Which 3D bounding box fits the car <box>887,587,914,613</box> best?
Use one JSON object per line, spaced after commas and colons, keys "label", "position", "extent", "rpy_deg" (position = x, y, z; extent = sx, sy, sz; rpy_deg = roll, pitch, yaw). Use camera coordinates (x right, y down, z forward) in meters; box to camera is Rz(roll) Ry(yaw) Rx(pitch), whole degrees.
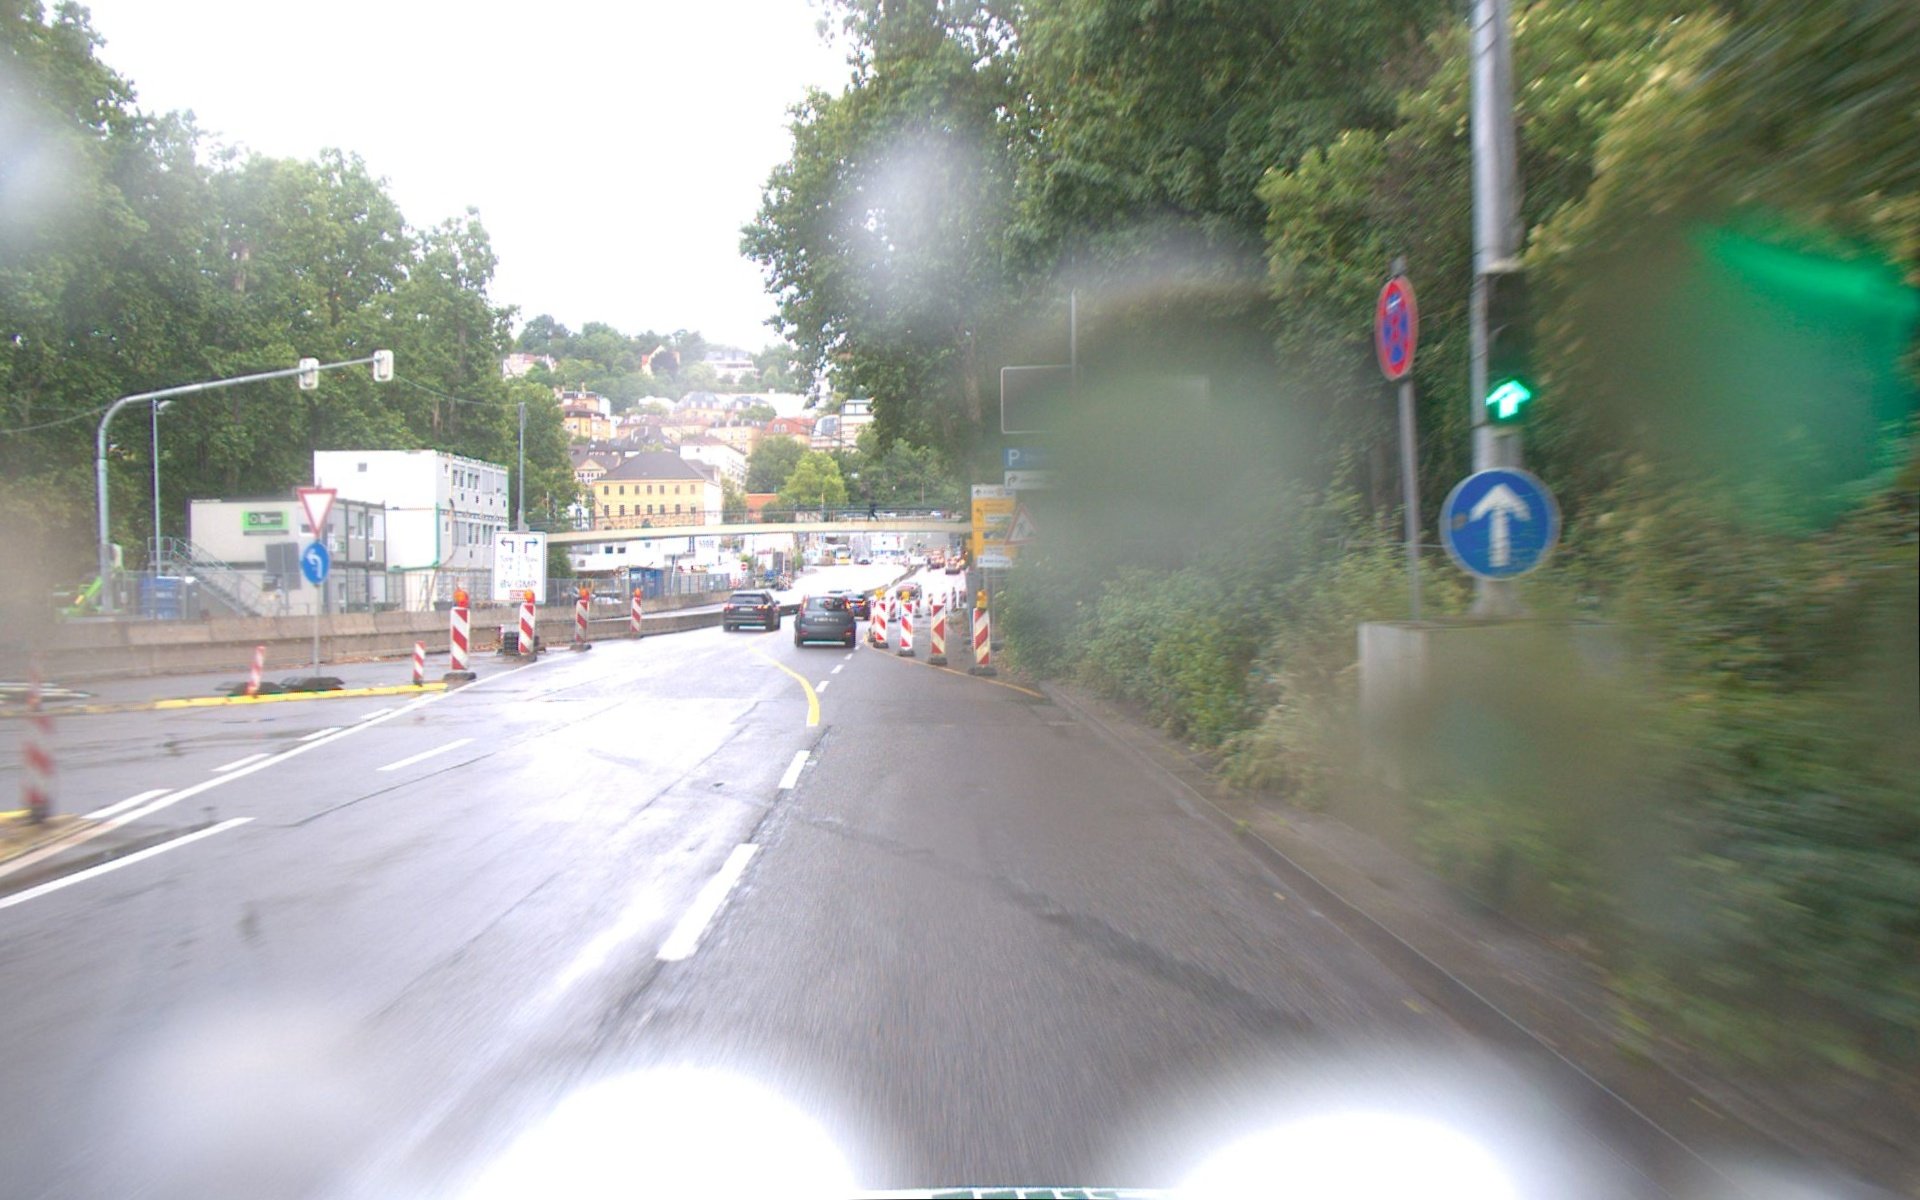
{"label": "car", "position": [-4.843, 0.003, 134.716], "extent": [2.009, 2.049, 4.000], "rpy_deg": [-1, 0, 0]}

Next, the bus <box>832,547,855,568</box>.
{"label": "bus", "position": [-18.115, -6.595, 257.867], "extent": [2.748, 3.240, 8.809], "rpy_deg": [-1, 1, 1]}

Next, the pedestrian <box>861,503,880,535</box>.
{"label": "pedestrian", "position": [-6.239, -5.628, 115.187], "extent": [1.123, 2.096, 1.060], "rpy_deg": [-1, 0, 9]}

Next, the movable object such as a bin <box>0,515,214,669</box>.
{"label": "movable object such as a bin", "position": [-30.201, -0.237, 57.520], "extent": [4.653, 4.887, 8.358], "rpy_deg": [-1, 0, -1]}

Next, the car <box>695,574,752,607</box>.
{"label": "car", "position": [-21.573, -0.891, 151.050], "extent": [1.955, 2.925, 6.044], "rpy_deg": [-2, 0, 28]}

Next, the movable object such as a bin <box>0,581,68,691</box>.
{"label": "movable object such as a bin", "position": [-29.819, 1.091, 48.496], "extent": [3.852, 3.183, 6.387], "rpy_deg": [-1, 0, -1]}

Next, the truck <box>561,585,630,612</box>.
{"label": "truck", "position": [-29.924, -0.157, 135.897], "extent": [5.142, 2.049, 2.162], "rpy_deg": [-1, 0, -3]}

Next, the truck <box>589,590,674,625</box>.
{"label": "truck", "position": [-25.377, 0.569, 127.971], "extent": [6.155, 2.495, 2.690], "rpy_deg": [-1, 0, -6]}

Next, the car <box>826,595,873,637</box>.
{"label": "car", "position": [-5.722, 0.824, 85.941], "extent": [2.061, 2.086, 4.001], "rpy_deg": [-1, 0, 1]}

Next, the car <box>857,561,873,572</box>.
{"label": "car", "position": [-14.605, -5.219, 255.013], "extent": [2.039, 1.659, 4.853], "rpy_deg": [-1, 1, 0]}

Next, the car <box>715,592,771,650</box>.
{"label": "car", "position": [-8.170, 0.779, 62.230], "extent": [1.979, 2.049, 3.993], "rpy_deg": [-1, 0, -8]}

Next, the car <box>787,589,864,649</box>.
{"label": "car", "position": [-3.775, 0.507, 45.964], "extent": [1.779, 1.553, 3.991], "rpy_deg": [-2, 0, -10]}

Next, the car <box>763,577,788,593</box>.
{"label": "car", "position": [-20.312, -1.679, 182.454], "extent": [1.951, 1.650, 4.004], "rpy_deg": [-1, 2, 5]}
